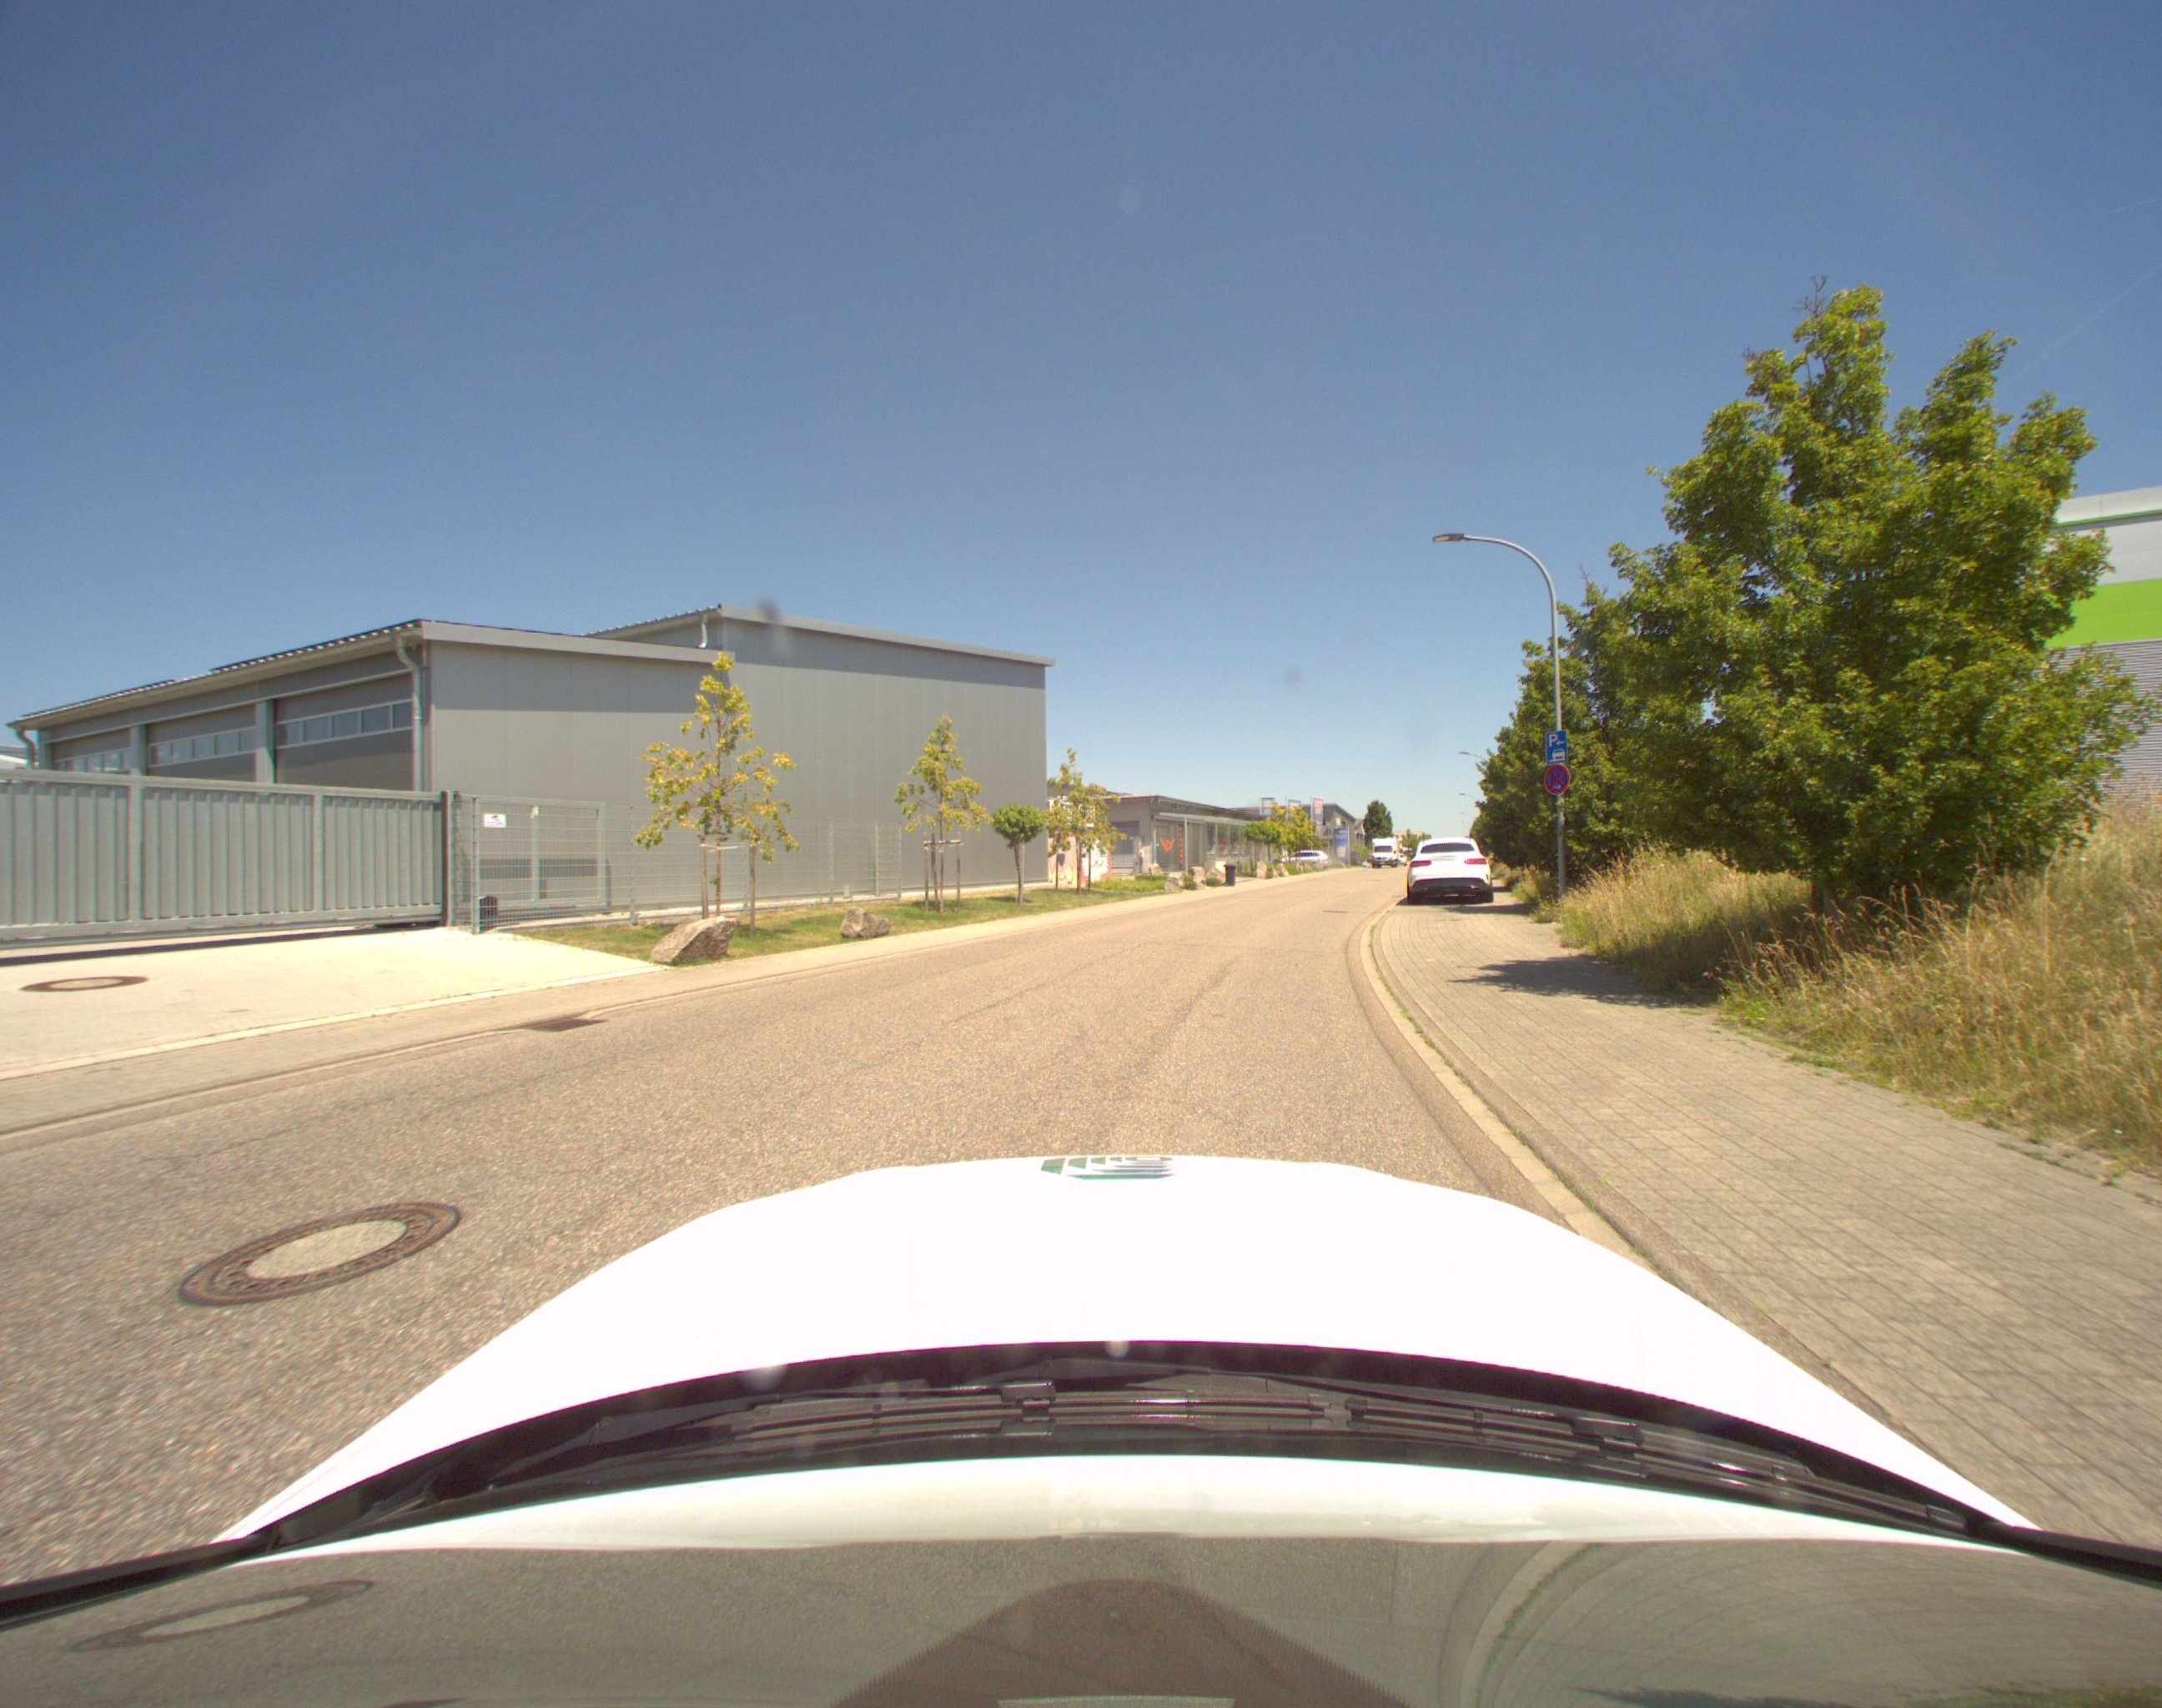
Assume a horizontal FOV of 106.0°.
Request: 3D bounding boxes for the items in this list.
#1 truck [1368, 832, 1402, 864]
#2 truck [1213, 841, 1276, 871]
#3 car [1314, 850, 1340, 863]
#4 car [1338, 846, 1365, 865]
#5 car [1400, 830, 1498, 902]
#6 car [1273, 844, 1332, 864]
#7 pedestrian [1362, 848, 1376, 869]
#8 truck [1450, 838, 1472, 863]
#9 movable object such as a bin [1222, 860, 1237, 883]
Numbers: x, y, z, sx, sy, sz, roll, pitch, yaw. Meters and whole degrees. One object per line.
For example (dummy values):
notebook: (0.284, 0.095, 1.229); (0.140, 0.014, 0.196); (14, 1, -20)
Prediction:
truck: (29.233, -0.551, 78.136); (2.340, 2.860, 6.452); (-4, -2, 26)
truck: (19.949, 0.183, 99.746); (2.598, 3.557, 7.976); (0, 0, -36)
car: (26.338, 0.254, 87.040); (1.914, 1.416, 4.796); (1, 0, 25)
car: (28.259, 0.157, 84.998); (1.975, 1.956, 5.248); (-1, -1, 25)
car: (10.075, 0.301, 22.291); (2.124, 1.698, 4.813); (-3, -1, 25)
car: (17.454, 0.019, 64.235); (4.223, 1.518, 1.876); (-1, -1, 24)
pedestrian: (21.427, 0.328, 60.592); (0.891, 1.574, 0.790); (1, 0, 26)
truck: (35.290, -0.344, 75.620); (1.663, 2.181, 4.415); (-3, -2, 25)
movable object such as a bin: (6.425, 0.759, 35.302); (0.566, 0.949, 0.514); (-1, 0, 20)
